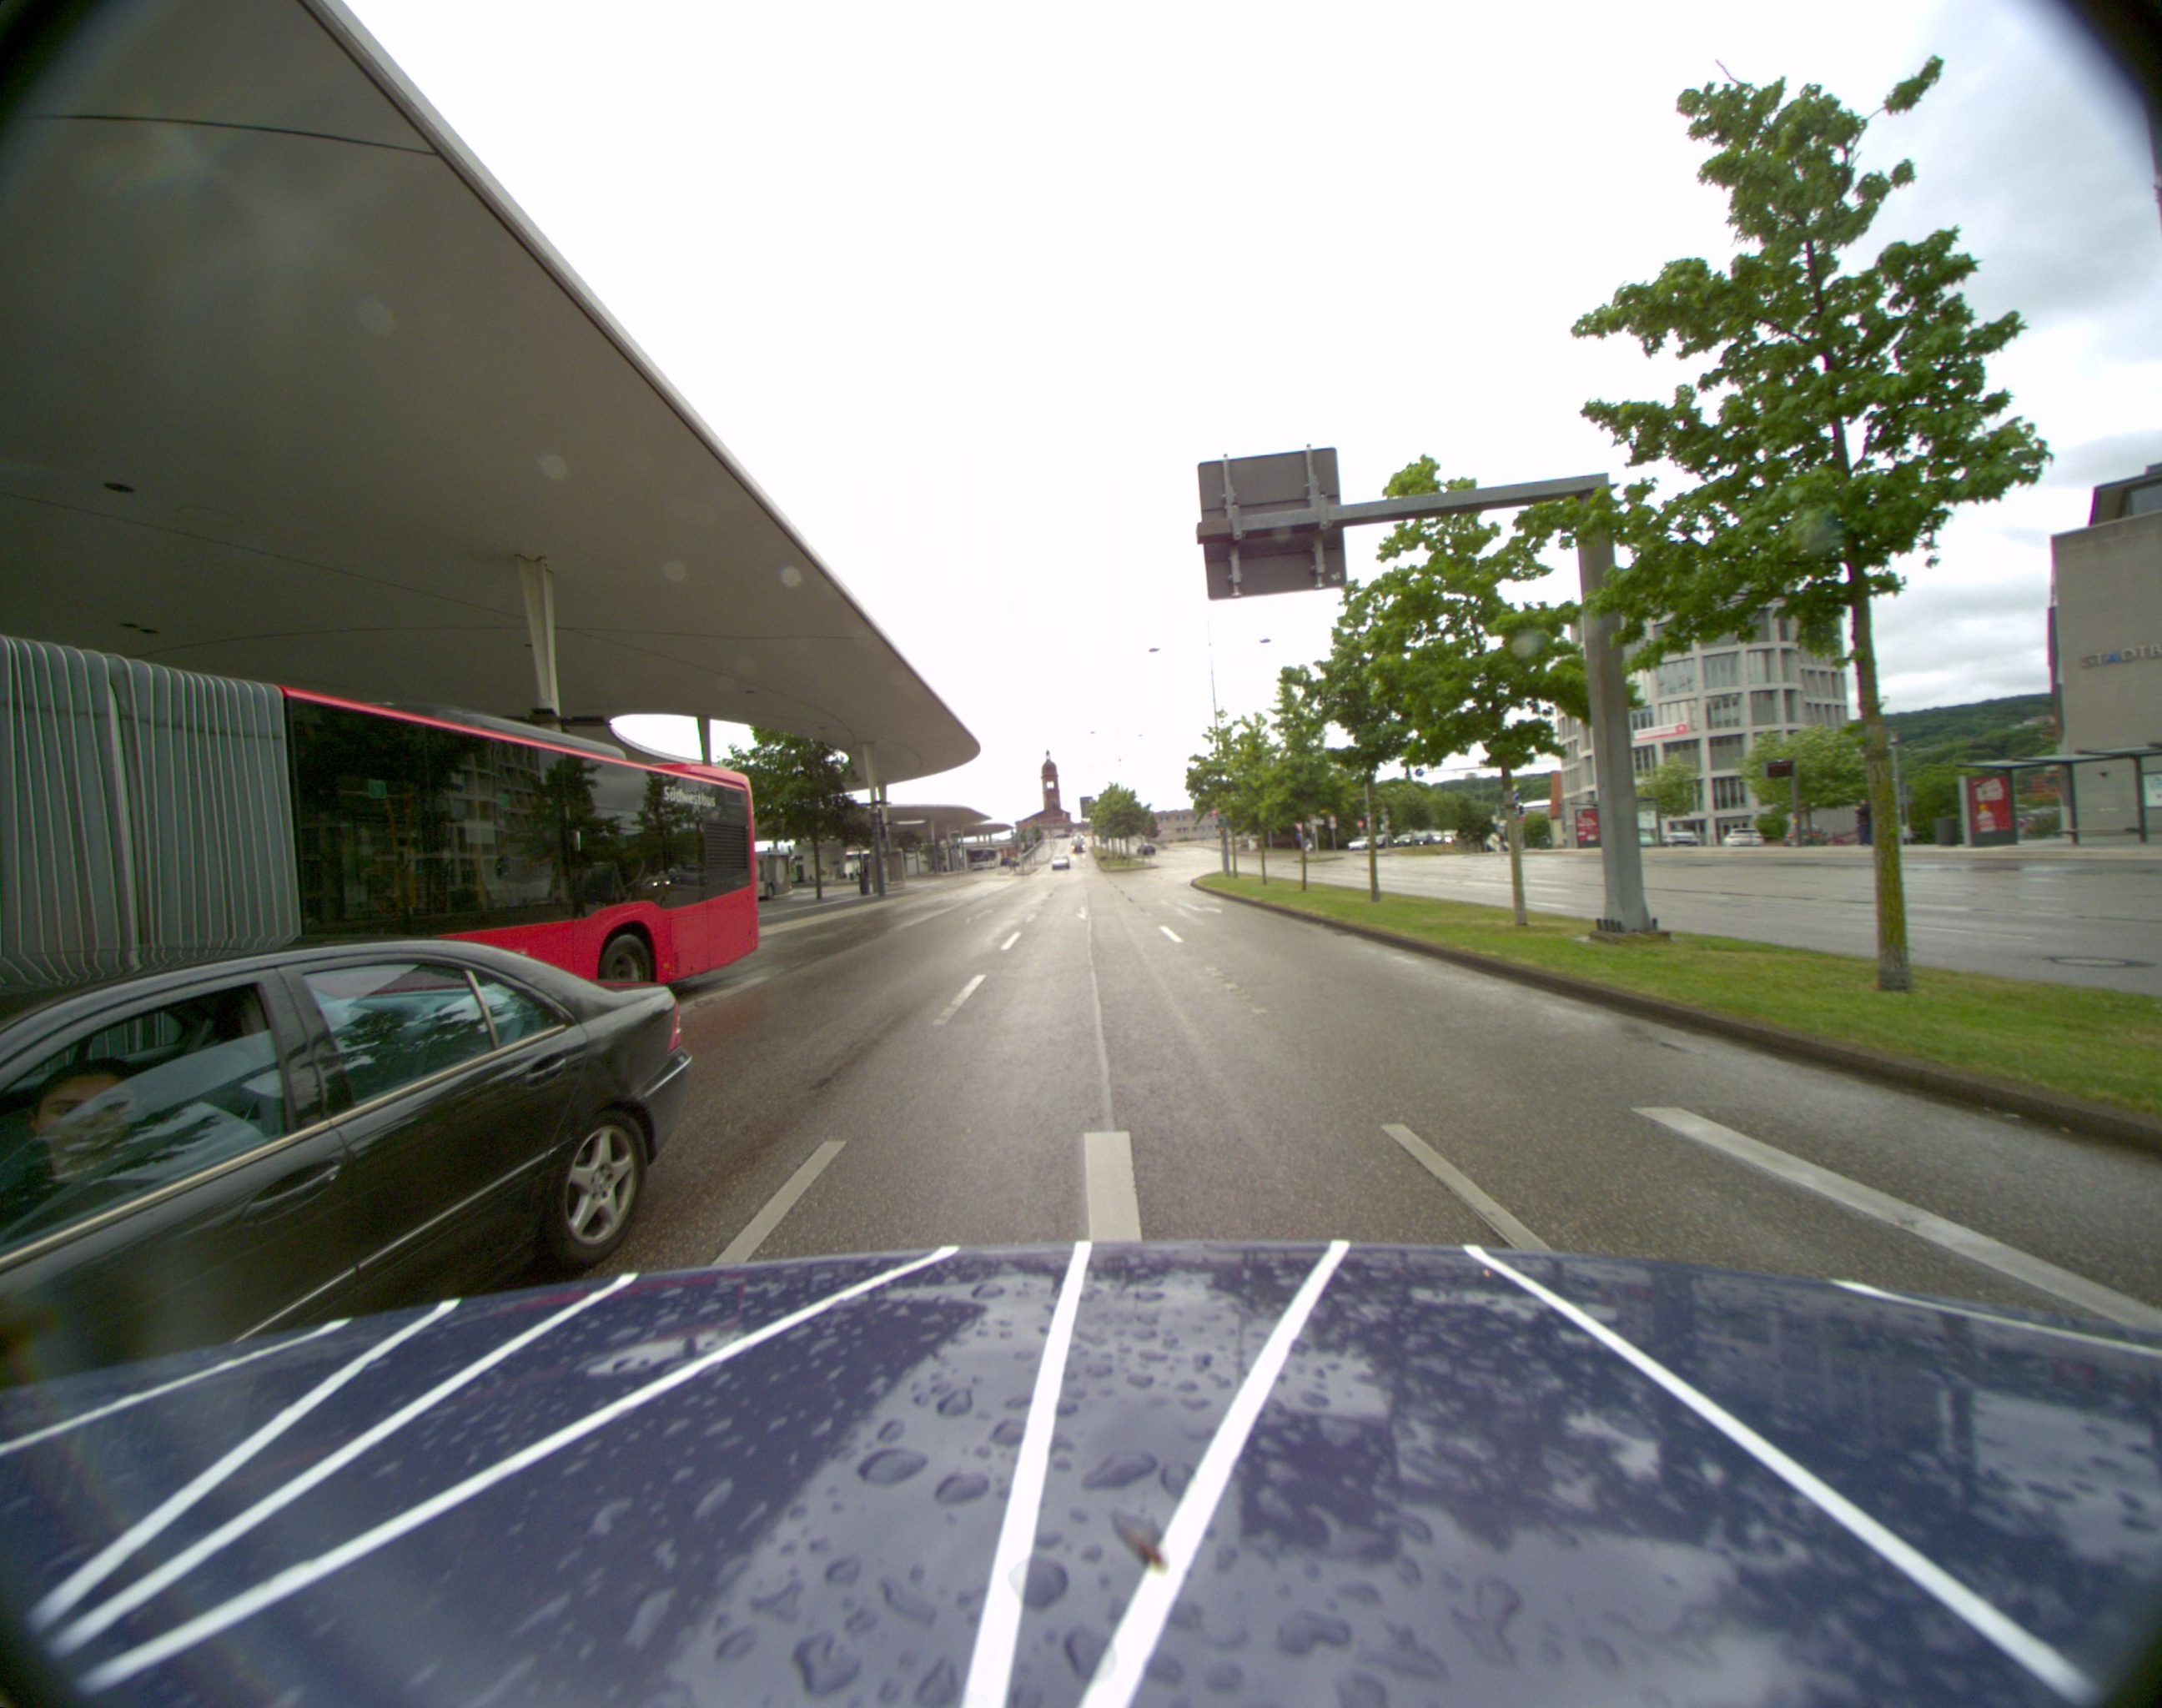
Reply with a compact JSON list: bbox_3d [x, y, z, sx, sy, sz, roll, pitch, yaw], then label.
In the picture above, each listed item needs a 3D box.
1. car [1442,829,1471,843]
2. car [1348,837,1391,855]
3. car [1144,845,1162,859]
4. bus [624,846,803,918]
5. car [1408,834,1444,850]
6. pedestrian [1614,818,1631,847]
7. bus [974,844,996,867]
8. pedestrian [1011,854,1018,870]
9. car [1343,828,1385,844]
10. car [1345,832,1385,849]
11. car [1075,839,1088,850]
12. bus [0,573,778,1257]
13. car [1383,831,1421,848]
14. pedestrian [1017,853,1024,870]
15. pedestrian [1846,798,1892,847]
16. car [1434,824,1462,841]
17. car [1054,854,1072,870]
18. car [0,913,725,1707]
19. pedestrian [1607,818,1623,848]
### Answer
[{"bbox_3d":[50.992,-2.449,103.306,2.193,1.702,4.920,-3,0,11],"label":"car"},{"bbox_3d":[30.749,-0.849,80.973,4.925,1.702,2.190,-3,1,-43],"label":"car"},{"bbox_3d":[9.766,-0.337,102.860,1.998,1.765,4.000,-3,0,1],"label":"car"},{"bbox_3d":[-19.946,1.278,42.758,3.002,3.088,12.357,-8,0,4],"label":"bus"},{"bbox_3d":[42.133,-1.427,92.800,4.925,1.702,2.190,-3,1,-43],"label":"car"},{"bbox_3d":[30.067,-1.189,42.222,0.520,1.625,0.536,-2,1,1],"label":"pedestrian"},{"bbox_3d":[-14.279,0.181,113.248,2.675,3.111,9.712,-3,0,-5],"label":"bus"},{"bbox_3d":[-6.607,0.773,75.873,0.576,1.614,0.588,-3,1,1],"label":"pedestrian"},{"bbox_3d":[39.938,-2.546,107.240,2.315,2.002,5.021,-3,1,-41],"label":"car"},{"bbox_3d":[32.305,-1.587,86.295,4.925,1.702,2.190,-3,1,-42],"label":"car"},{"bbox_3d":[0.087,-1.477,116.915,1.704,1.656,3.998,-2,1,-2],"label":"car"},{"bbox_3d":[-6.144,0.332,7.580,2.750,3.155,8.120,-3,0,1],"label":"bus"},{"bbox_3d":[36.754,-1.694,86.959,4.925,1.702,2.190,-3,1,-43],"label":"car"},{"bbox_3d":[-6.062,0.745,75.789,0.557,1.614,0.552,-3,1,1],"label":"pedestrian"},{"bbox_3d":[29.249,-1.173,28.202,0.787,1.750,0.972,-3,1,-28],"label":"pedestrian"},{"bbox_3d":[47.224,-2.735,97.703,1.994,2.002,4.008,-2,0,44],"label":"car"},{"bbox_3d":[-1.834,0.808,77.704,1.627,1.450,3.735,-3,0,0],"label":"car"},{"bbox_3d":[-2.770,1.128,1.682,1.750,1.471,4.434,-4,1,0],"label":"car"},{"bbox_3d":[29.518,-1.162,41.989,0.504,1.625,0.502,-2,1,1],"label":"pedestrian"}]
